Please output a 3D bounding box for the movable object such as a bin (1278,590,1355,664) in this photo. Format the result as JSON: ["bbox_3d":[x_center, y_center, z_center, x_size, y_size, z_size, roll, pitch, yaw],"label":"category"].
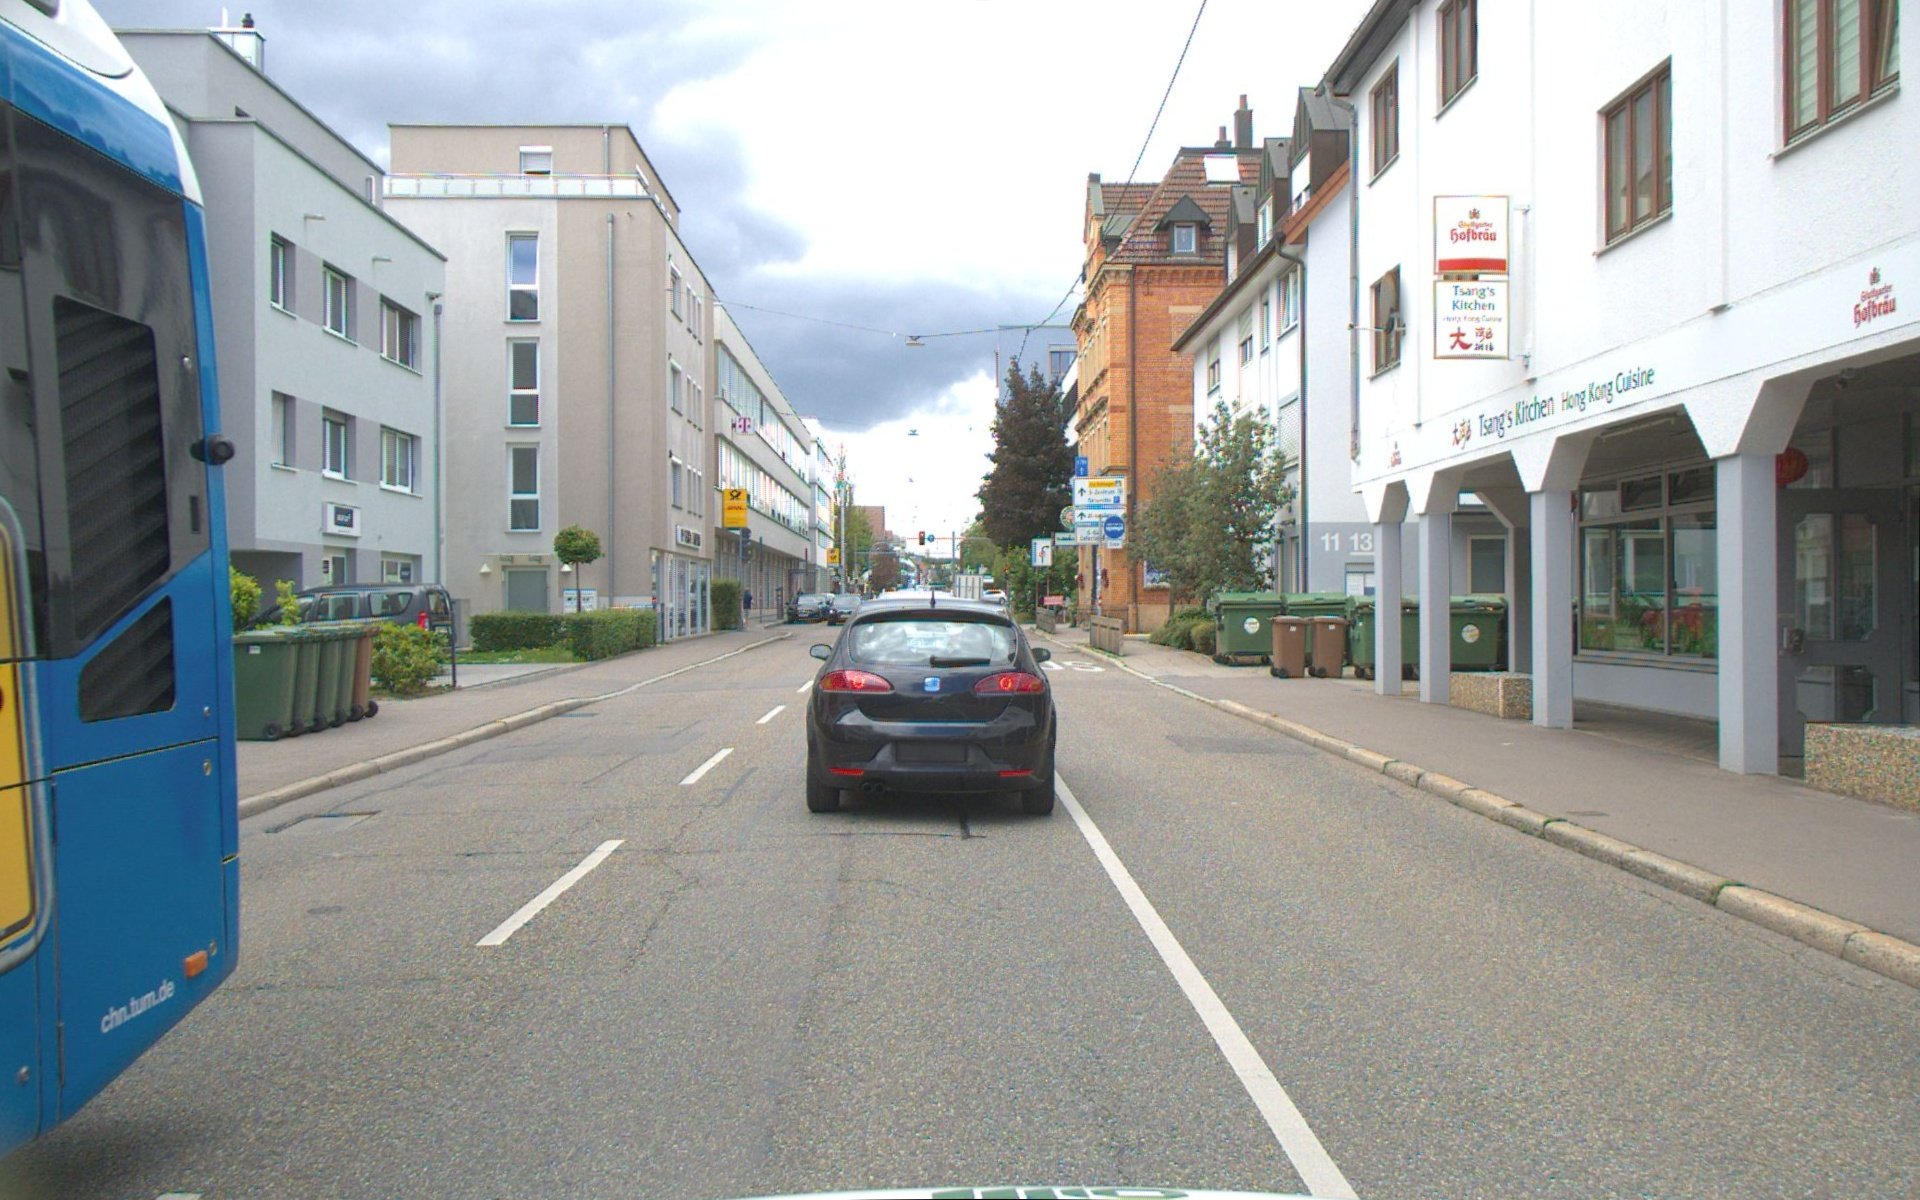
[{"bbox_3d":[7.129,0.526,33.129,1.241,1.460,1.307,0,0,-1],"label":"movable object such as a bin"}]

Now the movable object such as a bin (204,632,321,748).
[{"bbox_3d":[-7.008,0.889,16.657,0.877,1.108,0.792,0,0,-6],"label":"movable object such as a bin"}]

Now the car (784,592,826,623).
[{"bbox_3d":[-7.992,0.355,85.487,1.874,1.543,4.173,-1,0,-2],"label":"car"}]

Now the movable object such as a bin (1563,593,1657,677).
[{"bbox_3d":[11.428,0.607,29.129,1.184,1.442,1.260,0,0,3],"label":"movable object such as a bin"}]

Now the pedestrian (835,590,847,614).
[{"bbox_3d":[-9.707,0.177,134.787,0.899,1.901,0.783,0,0,-2],"label":"pedestrian"}]

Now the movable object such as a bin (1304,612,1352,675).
[{"bbox_3d":[6.558,0.771,29.511,0.683,1.098,0.972,0,0,3],"label":"movable object such as a bin"}]

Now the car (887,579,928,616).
[{"bbox_3d":[-2.332,-0.126,73.566,1.767,1.580,3.736,0,0,-2],"label":"car"}]

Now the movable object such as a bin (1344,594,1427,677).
[{"bbox_3d":[7.494,0.611,29.182,1.184,1.442,1.260,0,0,3],"label":"movable object such as a bin"}]

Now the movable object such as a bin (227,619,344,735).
[{"bbox_3d":[-7.130,0.802,17.527,0.937,1.171,0.839,0,0,-6],"label":"movable object such as a bin"}]

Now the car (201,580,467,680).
[{"bbox_3d":[-11.140,0.529,29.611,4.076,1.697,1.725,-1,0,2],"label":"car"}]

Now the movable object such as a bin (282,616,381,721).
[{"bbox_3d":[-7.233,0.783,19.059,0.922,1.171,0.612,0,0,-6],"label":"movable object such as a bin"}]

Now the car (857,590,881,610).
[{"bbox_3d":[-8.245,-0.017,149.652,1.953,1.769,4.552,-2,0,-2],"label":"car"}]

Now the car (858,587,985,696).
[{"bbox_3d":[-0.596,0.570,25.109,1.767,1.519,3.736,0,0,-2],"label":"car"}]

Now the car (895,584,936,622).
[{"bbox_3d":[-1.995,0.125,73.644,1.767,1.629,3.736,1,0,-2],"label":"car"}]

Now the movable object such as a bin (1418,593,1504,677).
[{"bbox_3d":[8.830,0.607,29.195,1.184,1.442,1.260,0,0,3],"label":"movable object such as a bin"}]

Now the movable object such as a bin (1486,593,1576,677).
[{"bbox_3d":[10.062,0.606,29.190,1.184,1.442,1.260,0,0,3],"label":"movable object such as a bin"}]

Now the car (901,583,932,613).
[{"bbox_3d":[-2.525,-0.120,95.938,1.767,1.629,3.736,1,0,-2],"label":"car"}]

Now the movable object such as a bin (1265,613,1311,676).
[{"bbox_3d":[5.843,0.789,29.522,0.669,1.086,0.972,0,0,3],"label":"movable object such as a bin"}]

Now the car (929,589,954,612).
[{"bbox_3d":[-1.375,0.023,122.329,1.767,1.629,3.736,1,0,-2],"label":"car"}]

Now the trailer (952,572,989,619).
[{"bbox_3d":[0.574,-0.282,97.524,1.953,2.653,5.347,0,0,-2],"label":"trailer"}]

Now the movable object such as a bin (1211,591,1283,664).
[{"bbox_3d":[5.797,0.550,33.443,1.241,1.442,1.162,0,0,-1],"label":"movable object such as a bin"}]

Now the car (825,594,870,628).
[{"bbox_3d":[-5.265,0.492,77.813,1.841,1.476,4.213,-3,0,-2],"label":"car"}]

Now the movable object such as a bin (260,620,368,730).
[{"bbox_3d":[-7.159,0.821,18.364,0.930,1.171,0.748,0,0,-6],"label":"movable object such as a bin"}]

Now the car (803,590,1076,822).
[{"bbox_3d":[-0.165,0.662,12.429,1.730,1.458,3.827,0,0,-1],"label":"car"}]

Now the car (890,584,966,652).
[{"bbox_3d":[-0.806,0.422,40.714,1.767,1.580,3.736,0,0,-2],"label":"car"}]

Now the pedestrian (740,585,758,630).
[{"bbox_3d":[-8.456,0.307,66.273,0.630,1.800,0.809,0,0,-4],"label":"pedestrian"}]

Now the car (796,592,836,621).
[{"bbox_3d":[-7.955,0.329,91.457,1.953,1.543,4.173,0,0,-2],"label":"car"}]
